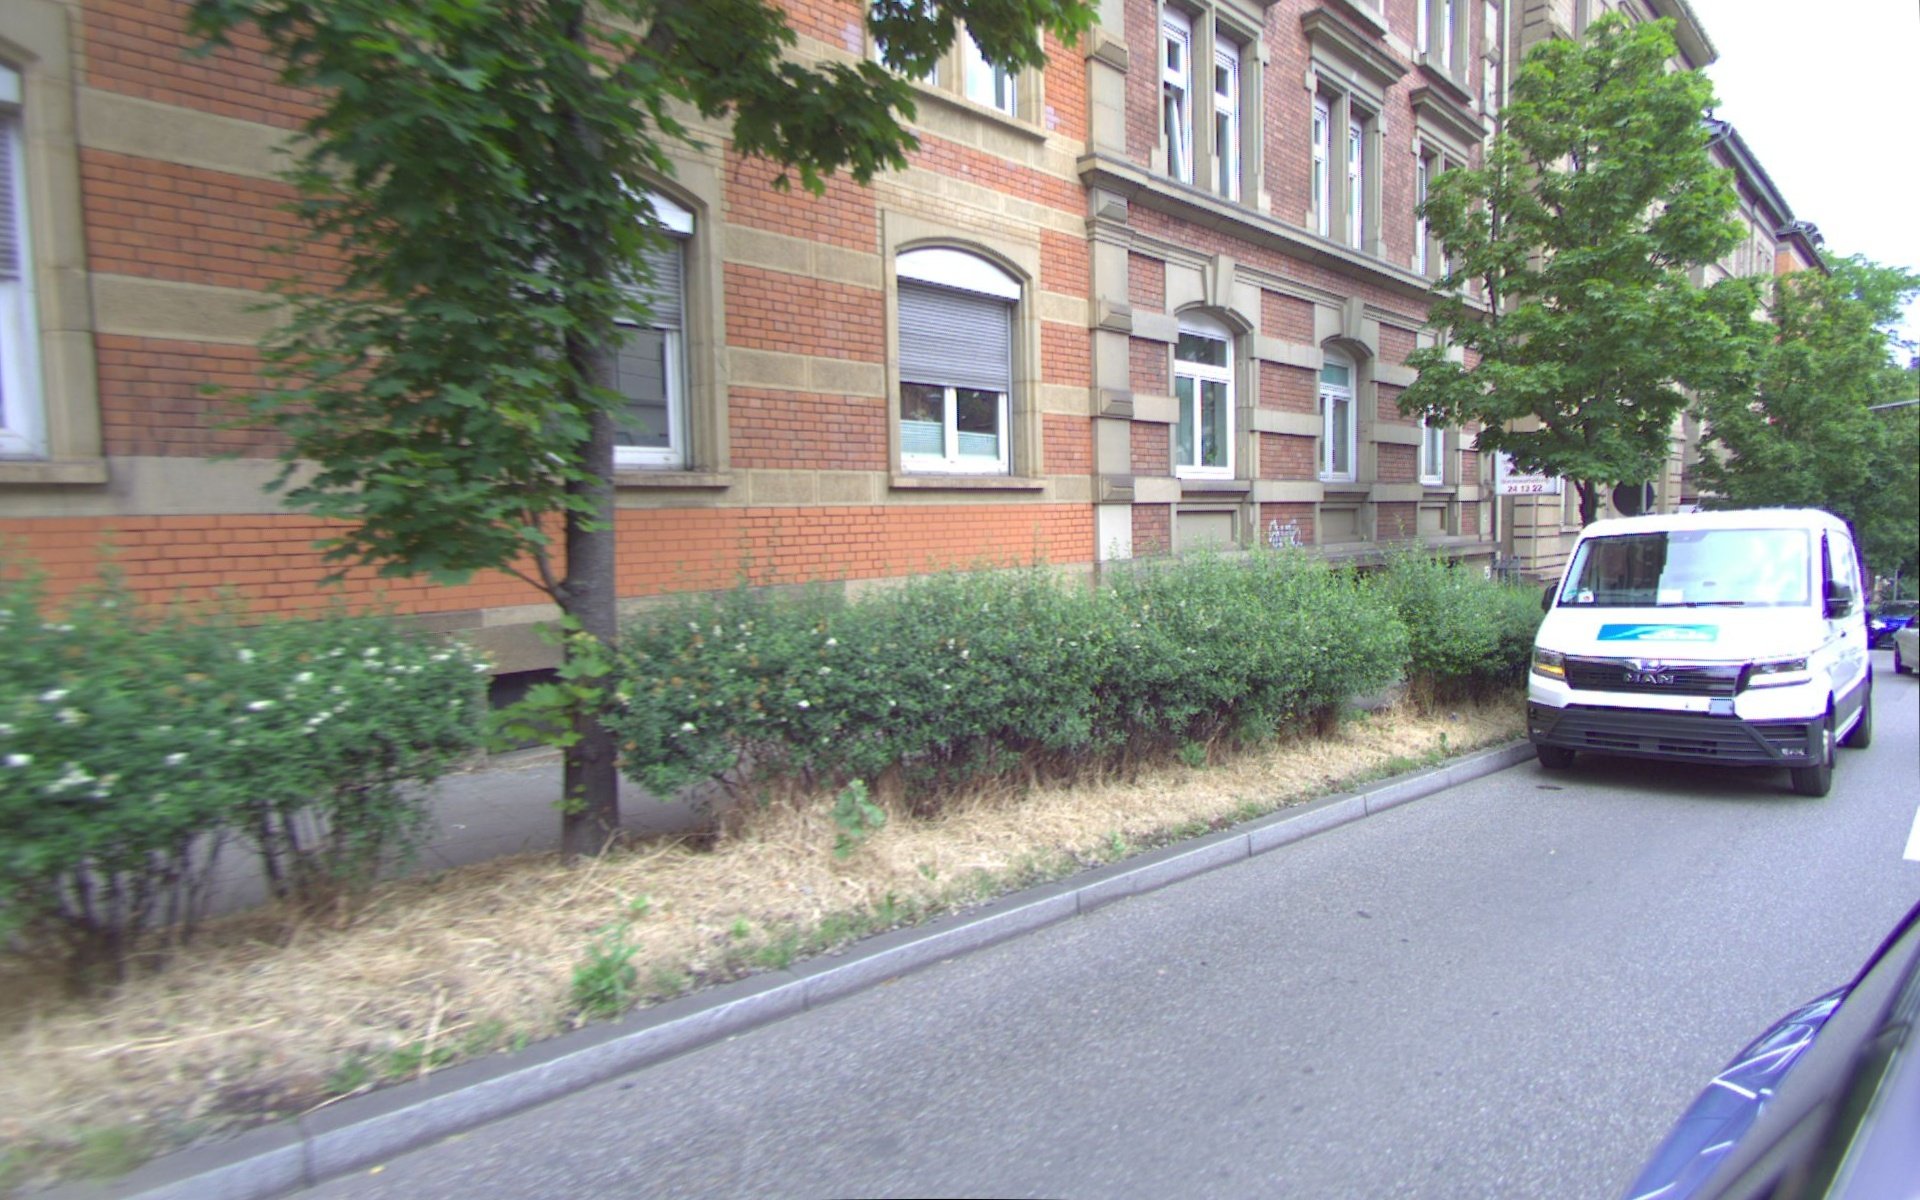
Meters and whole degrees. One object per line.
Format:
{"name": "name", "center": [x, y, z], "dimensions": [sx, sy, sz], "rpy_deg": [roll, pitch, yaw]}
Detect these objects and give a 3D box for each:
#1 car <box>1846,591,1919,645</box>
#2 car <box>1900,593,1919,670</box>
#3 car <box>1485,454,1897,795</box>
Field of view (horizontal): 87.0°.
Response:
{"name": "car", "center": [28.286, 0.496, 30.757], "dimensions": [3.793, 1.493, 1.692], "rpy_deg": [-1, 2, -44]}
{"name": "car", "center": [18.478, 0.601, 18.192], "dimensions": [1.796, 1.417, 3.949], "rpy_deg": [1, 1, 35]}
{"name": "car", "center": [7.297, 0.145, 9.755], "dimensions": [5.869, 2.316, 2.259], "rpy_deg": [0, 1, -44]}
